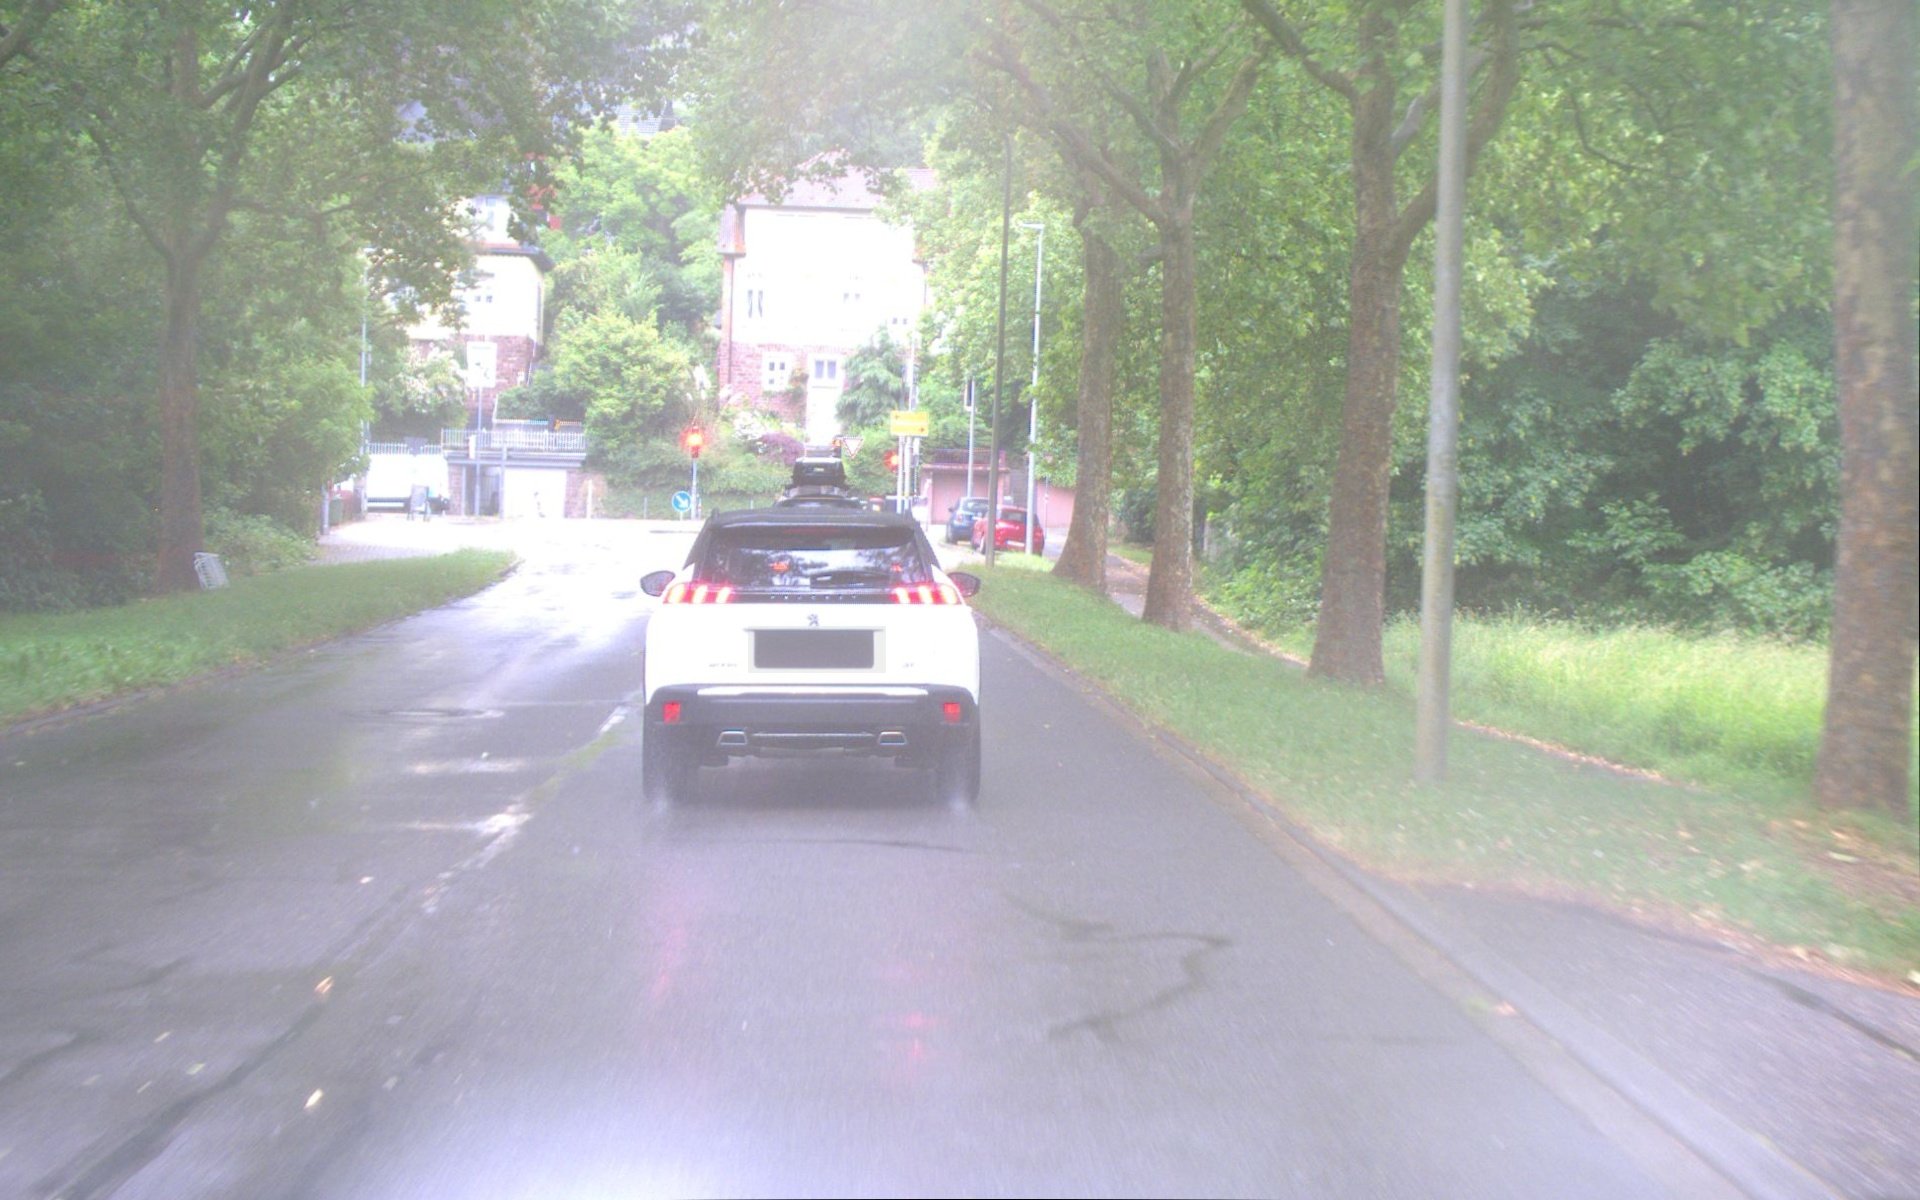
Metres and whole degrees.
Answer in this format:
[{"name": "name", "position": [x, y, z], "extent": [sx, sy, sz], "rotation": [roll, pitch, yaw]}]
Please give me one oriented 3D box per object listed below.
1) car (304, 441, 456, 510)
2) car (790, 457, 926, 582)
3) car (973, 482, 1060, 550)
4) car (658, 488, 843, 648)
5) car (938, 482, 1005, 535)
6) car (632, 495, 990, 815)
[{"name": "car", "position": [-23.321, -4.987, 138.362], "extent": [5.660, 2.485, 2.316], "rotation": [2, 1, -2]}, {"name": "car", "position": [-1.624, -1.286, 53.158], "extent": [1.760, 1.705, 4.602], "rotation": [3, 3, -5]}, {"name": "car", "position": [1.582, -2.401, 97.452], "extent": [1.819, 1.512, 3.744], "rotation": [9, 3, -6]}, {"name": "car", "position": [-2.298, -0.410, 38.307], "extent": [1.831, 1.451, 4.660], "rotation": [4, 3, -3]}, {"name": "car", "position": [0.348, -2.870, 106.970], "extent": [1.749, 1.486, 3.600], "rotation": [4, 2, -4]}, {"name": "car", "position": [-0.874, 0.209, 19.221], "extent": [1.752, 1.530, 4.368], "rotation": [1, 2, -4]}]
